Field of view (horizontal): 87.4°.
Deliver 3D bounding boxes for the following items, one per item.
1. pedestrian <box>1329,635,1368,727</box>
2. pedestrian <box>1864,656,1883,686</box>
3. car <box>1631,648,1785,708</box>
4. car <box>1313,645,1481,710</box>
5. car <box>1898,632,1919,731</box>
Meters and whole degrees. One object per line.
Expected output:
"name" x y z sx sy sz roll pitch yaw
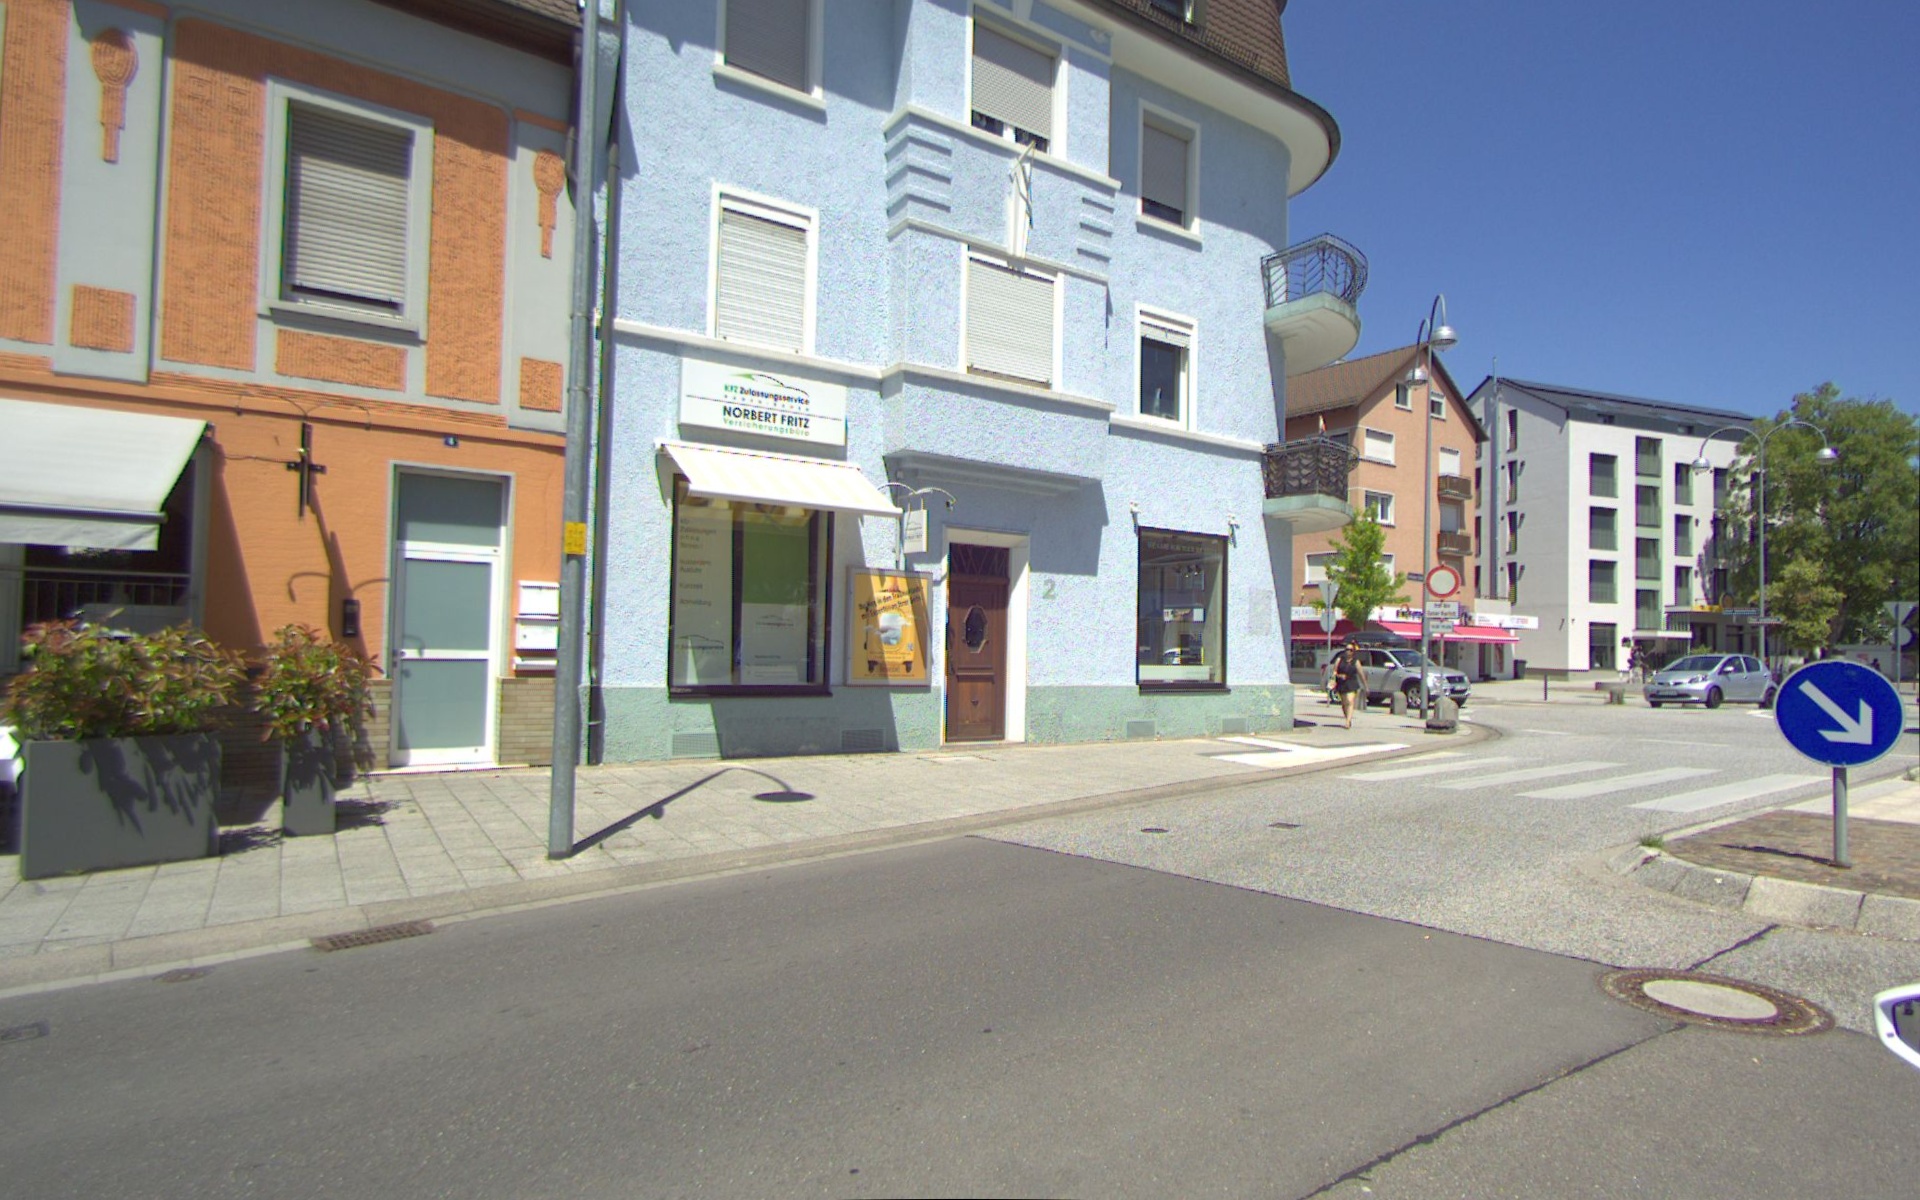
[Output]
"pedestrian" 6.912 1.438 17.880 0.535 1.605 0.515 0 -3 10
"pedestrian" 48.447 3.762 53.278 0.554 1.596 0.534 1 -3 -20
"car" 19.834 2.038 26.656 3.416 1.469 1.574 0 -4 -19
"car" 12.414 2.174 28.792 1.816 1.710 4.170 1 -3 -29
"car" 16.866 1.260 14.730 1.791 1.567 4.228 2 -3 -31
